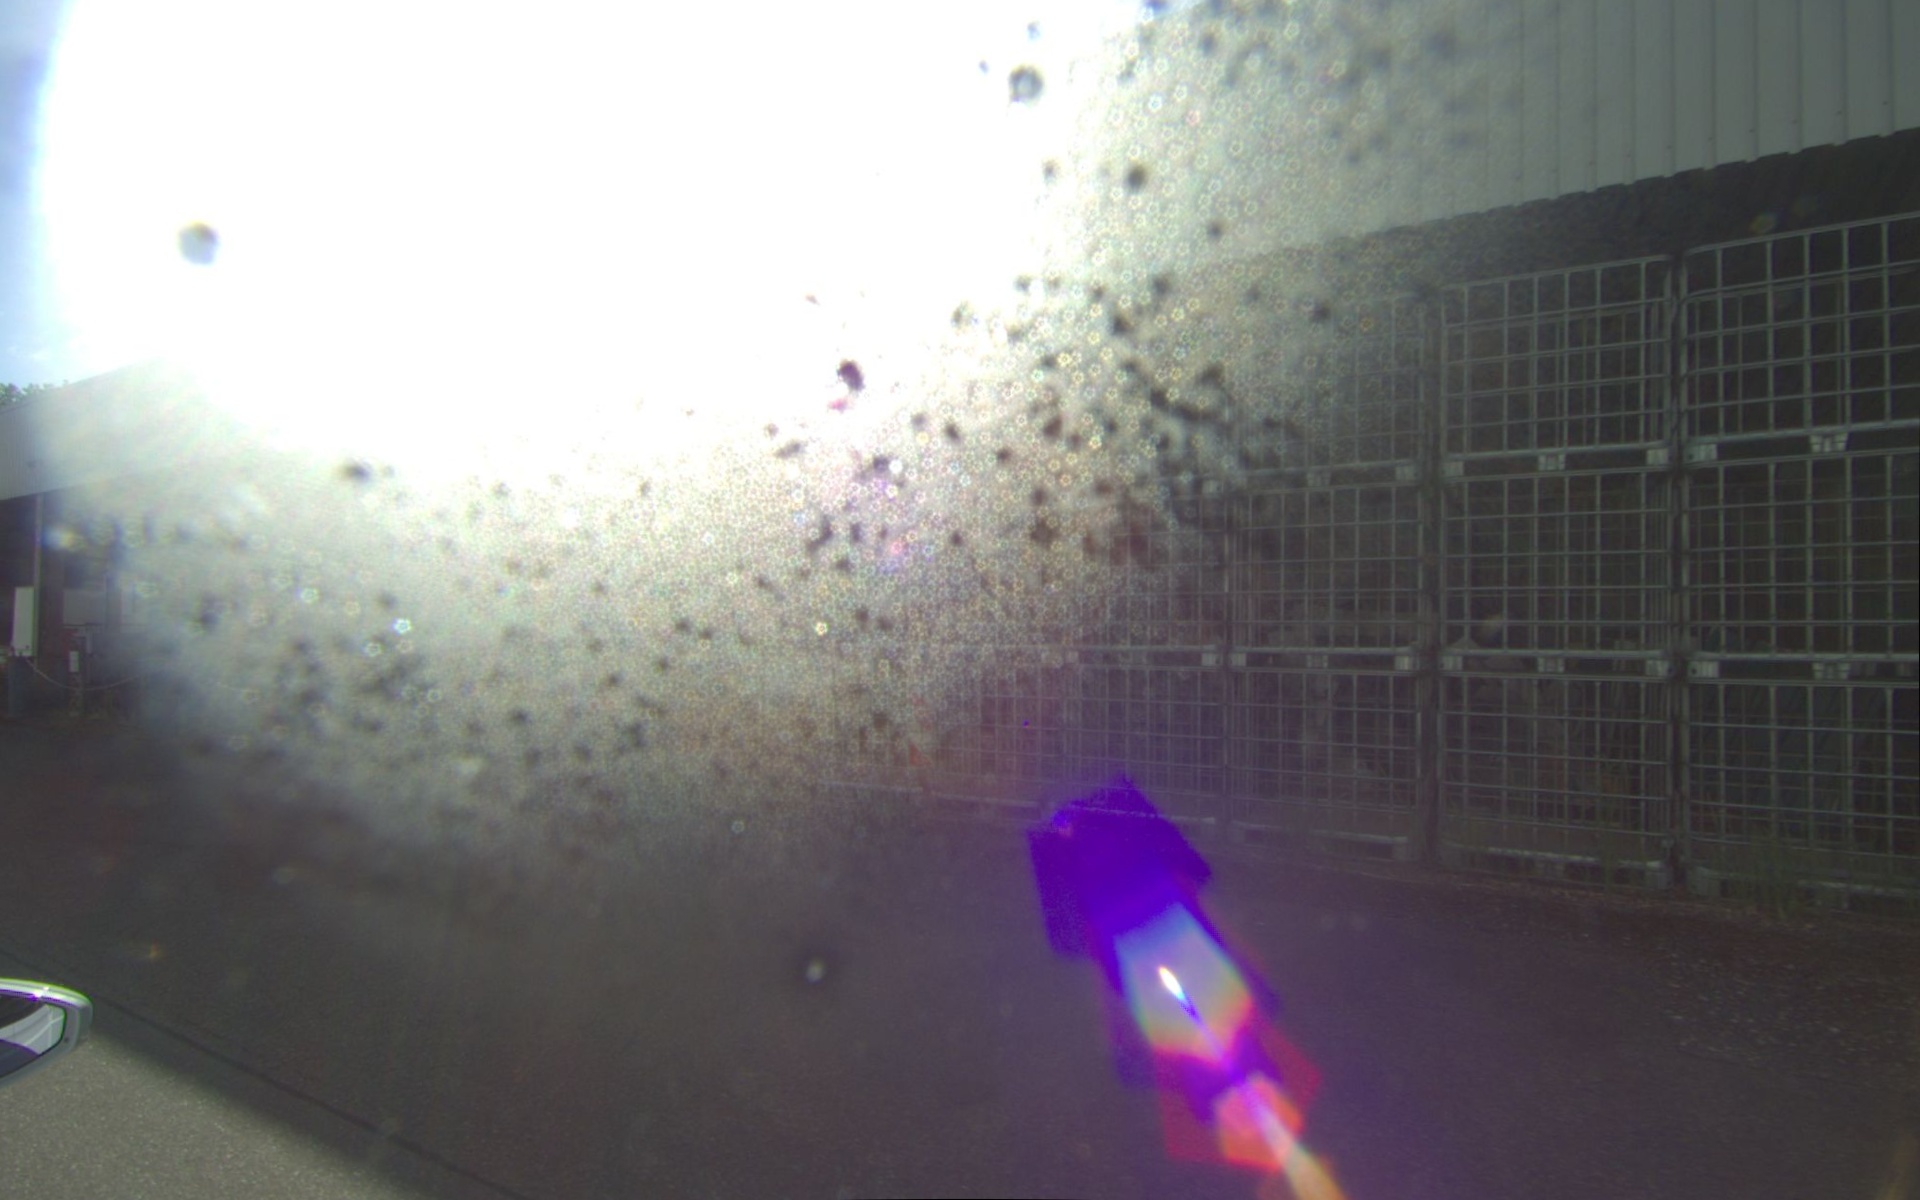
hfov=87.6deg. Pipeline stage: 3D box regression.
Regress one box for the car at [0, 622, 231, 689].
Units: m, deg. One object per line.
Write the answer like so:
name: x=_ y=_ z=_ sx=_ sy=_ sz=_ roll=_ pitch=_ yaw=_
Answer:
car: x=-20.974 y=1.342 z=24.871 sx=1.841 sy=1.490 sz=4.247 roll=0 pitch=-2 yaw=28

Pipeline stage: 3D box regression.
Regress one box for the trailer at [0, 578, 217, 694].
trailer: x=-19.597 y=0.792 z=22.286 sx=2.018 sy=2.372 sz=4.508 roll=-1 pitch=-2 yaw=32

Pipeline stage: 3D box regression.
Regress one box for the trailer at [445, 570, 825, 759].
trailer: x=-4.021 y=0.763 z=13.137 sx=2.133 sy=2.016 sz=4.414 roll=-1 pitch=-2 yaw=33

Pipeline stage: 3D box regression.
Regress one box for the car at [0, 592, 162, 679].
car: x=-26.144 y=1.014 z=28.203 sx=2.121 sy=2.309 sz=5.327 roll=-1 pitch=-3 yaw=31

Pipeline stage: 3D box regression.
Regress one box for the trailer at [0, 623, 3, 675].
trailer: x=-28.916 y=1.408 z=28.597 sx=1.715 sy=1.485 sz=2.033 roll=-1 pitch=-2 yaw=36

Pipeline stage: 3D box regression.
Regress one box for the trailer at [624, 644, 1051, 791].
trailer: x=-1.018 y=1.160 z=11.743 sx=1.945 sy=1.200 sz=5.722 roll=-1 pitch=-2 yaw=30

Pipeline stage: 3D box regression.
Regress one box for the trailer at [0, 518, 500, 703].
trailer: x=-16.172 y=0.326 z=23.189 sx=2.761 sy=3.386 sz=10.252 roll=0 pitch=-2 yaw=32
